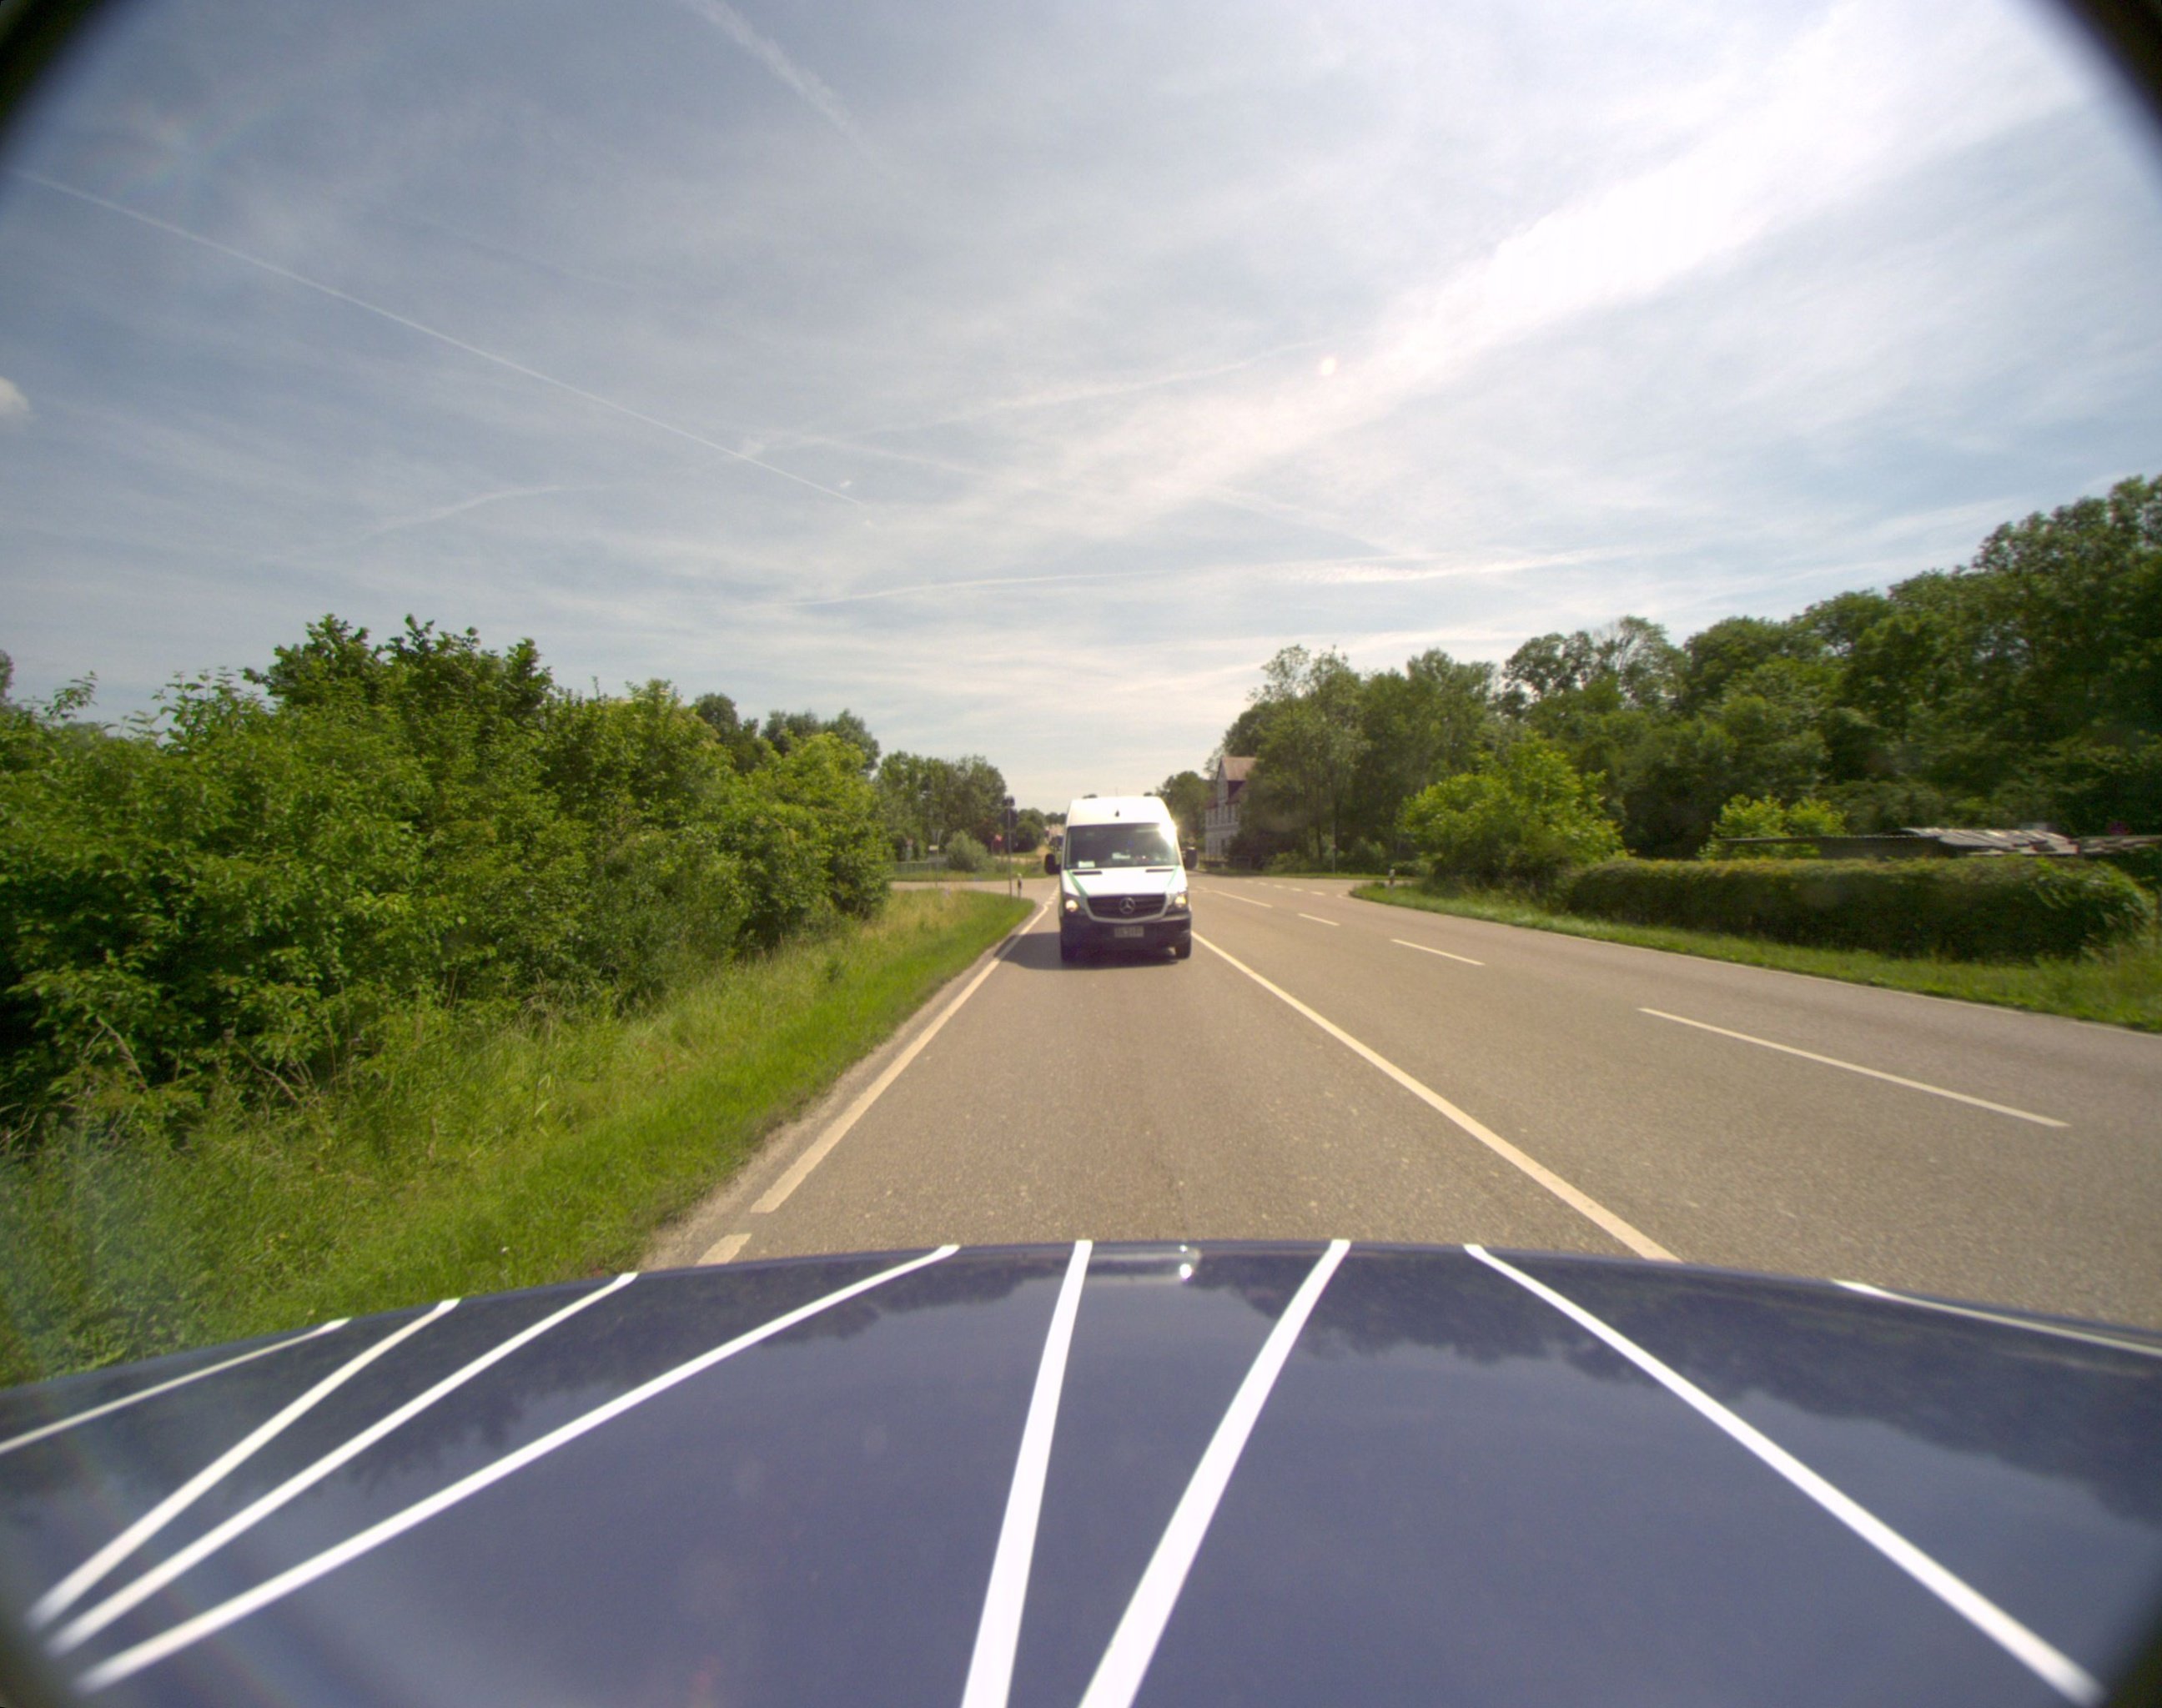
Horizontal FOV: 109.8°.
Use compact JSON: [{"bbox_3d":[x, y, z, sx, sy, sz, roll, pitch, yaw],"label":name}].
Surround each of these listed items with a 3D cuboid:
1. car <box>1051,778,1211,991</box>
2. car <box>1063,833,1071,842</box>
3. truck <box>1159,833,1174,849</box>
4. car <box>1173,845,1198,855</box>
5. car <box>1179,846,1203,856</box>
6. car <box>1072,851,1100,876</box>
[{"bbox_3d":[0.596,0.387,12.528,1.961,2.655,5.680,-2,0,-1],"label":"car"},{"bbox_3d":[-3.578,-4.141,193.119,1.999,2.166,3.999,-2,1,0],"label":"car"},{"bbox_3d":[16.995,-2.667,151.757,2.031,2.947,6.771,-2,2,0],"label":"truck"},{"bbox_3d":[17.939,-0.714,130.858,4.037,1.609,1.832,-2,2,0],"label":"car"},{"bbox_3d":[17.438,-0.415,120.827,3.387,1.457,1.609,-2,2,-7],"label":"car"},{"bbox_3d":[0.305,0.679,53.957,1.848,1.692,4.242,-1,0,-1],"label":"car"}]
